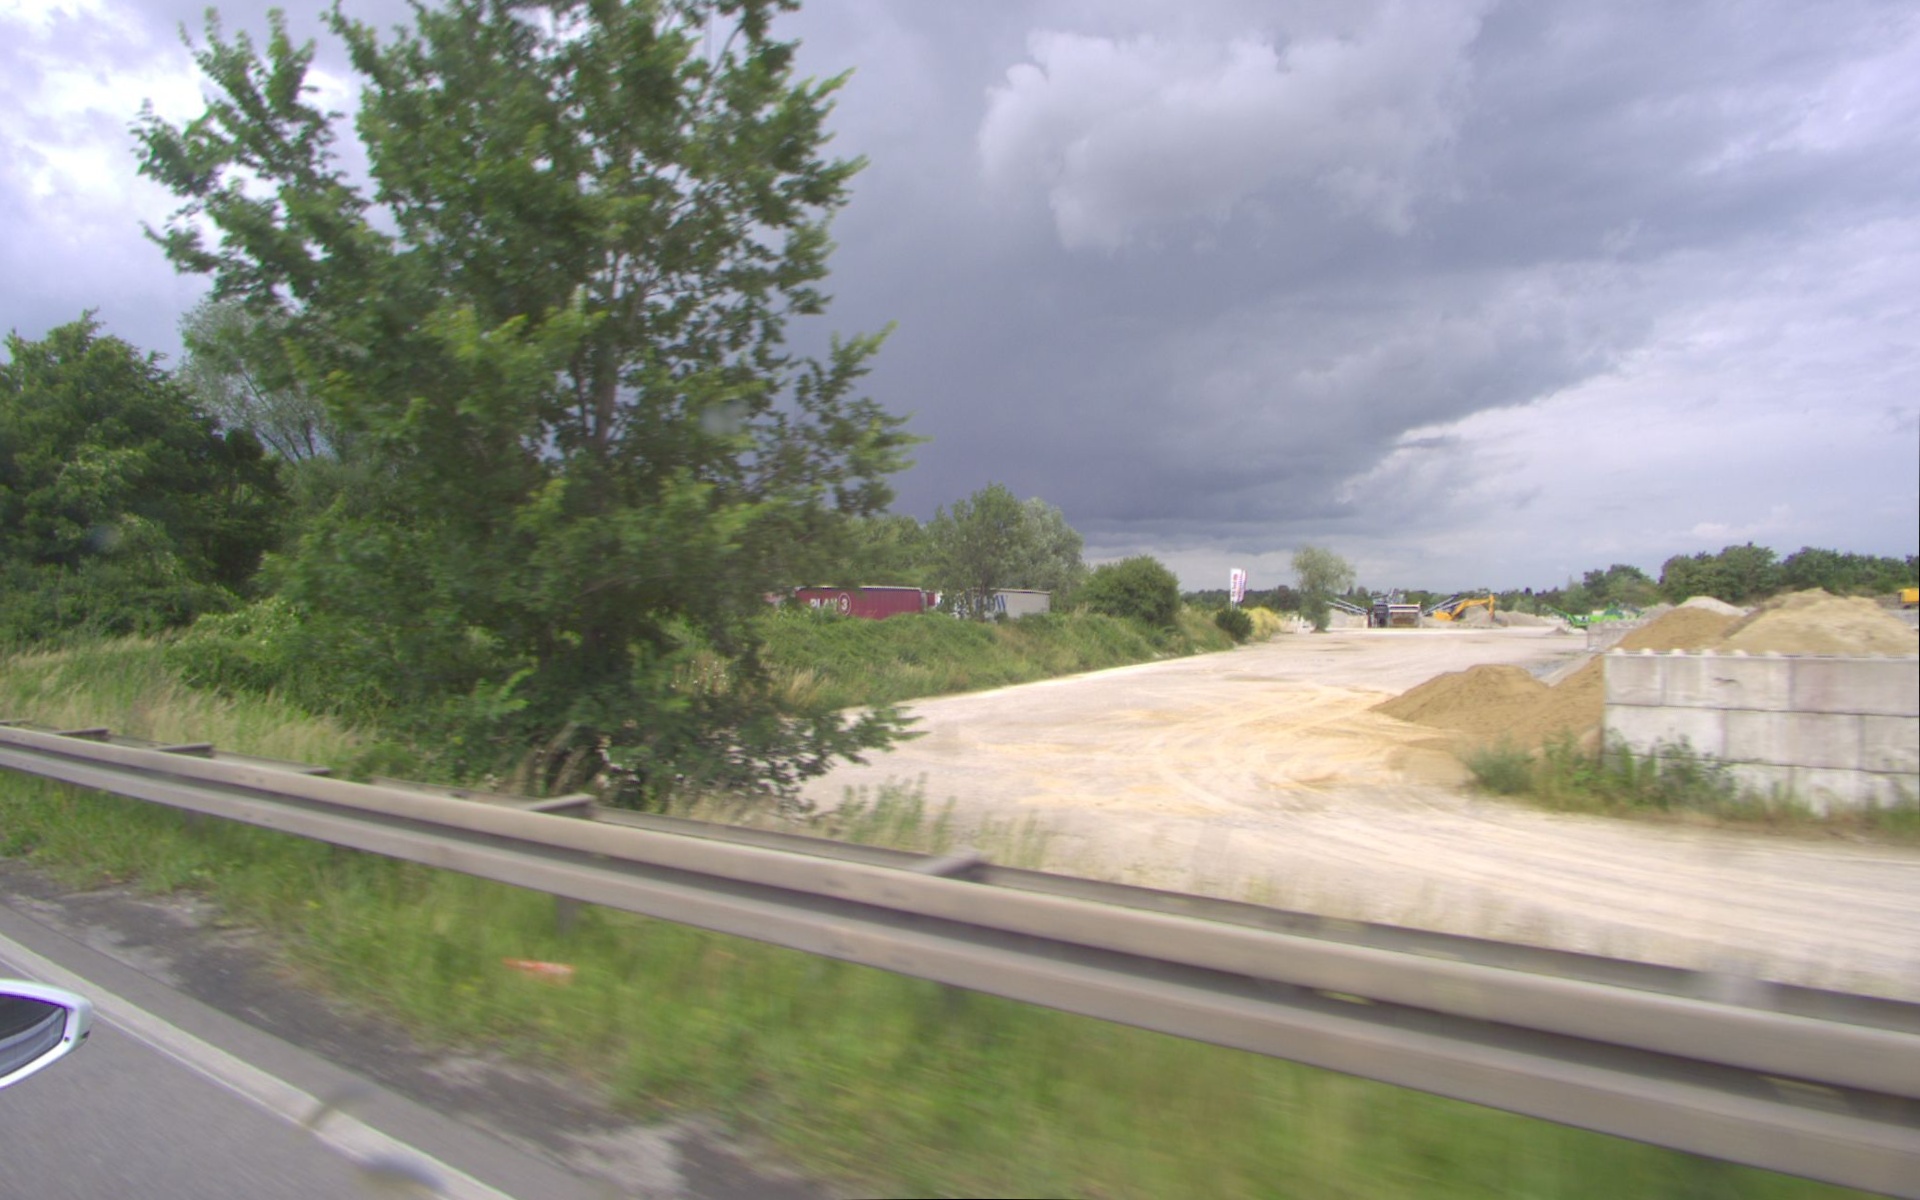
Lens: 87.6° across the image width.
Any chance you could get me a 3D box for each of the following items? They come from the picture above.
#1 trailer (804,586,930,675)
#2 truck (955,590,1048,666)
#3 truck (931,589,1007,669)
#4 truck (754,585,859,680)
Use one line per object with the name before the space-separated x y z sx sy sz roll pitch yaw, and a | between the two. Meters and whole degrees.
trailer | -5.355 1.738 60.519 2.624 4.898 10.247 -1 0 26
truck | 3.095 1.887 70.031 2.624 4.915 10.144 -1 -1 26
truck | 0.666 1.832 65.070 2.624 4.953 5.944 -1 0 26
truck | -8.261 1.702 54.615 2.624 4.849 6.142 -1 0 26
